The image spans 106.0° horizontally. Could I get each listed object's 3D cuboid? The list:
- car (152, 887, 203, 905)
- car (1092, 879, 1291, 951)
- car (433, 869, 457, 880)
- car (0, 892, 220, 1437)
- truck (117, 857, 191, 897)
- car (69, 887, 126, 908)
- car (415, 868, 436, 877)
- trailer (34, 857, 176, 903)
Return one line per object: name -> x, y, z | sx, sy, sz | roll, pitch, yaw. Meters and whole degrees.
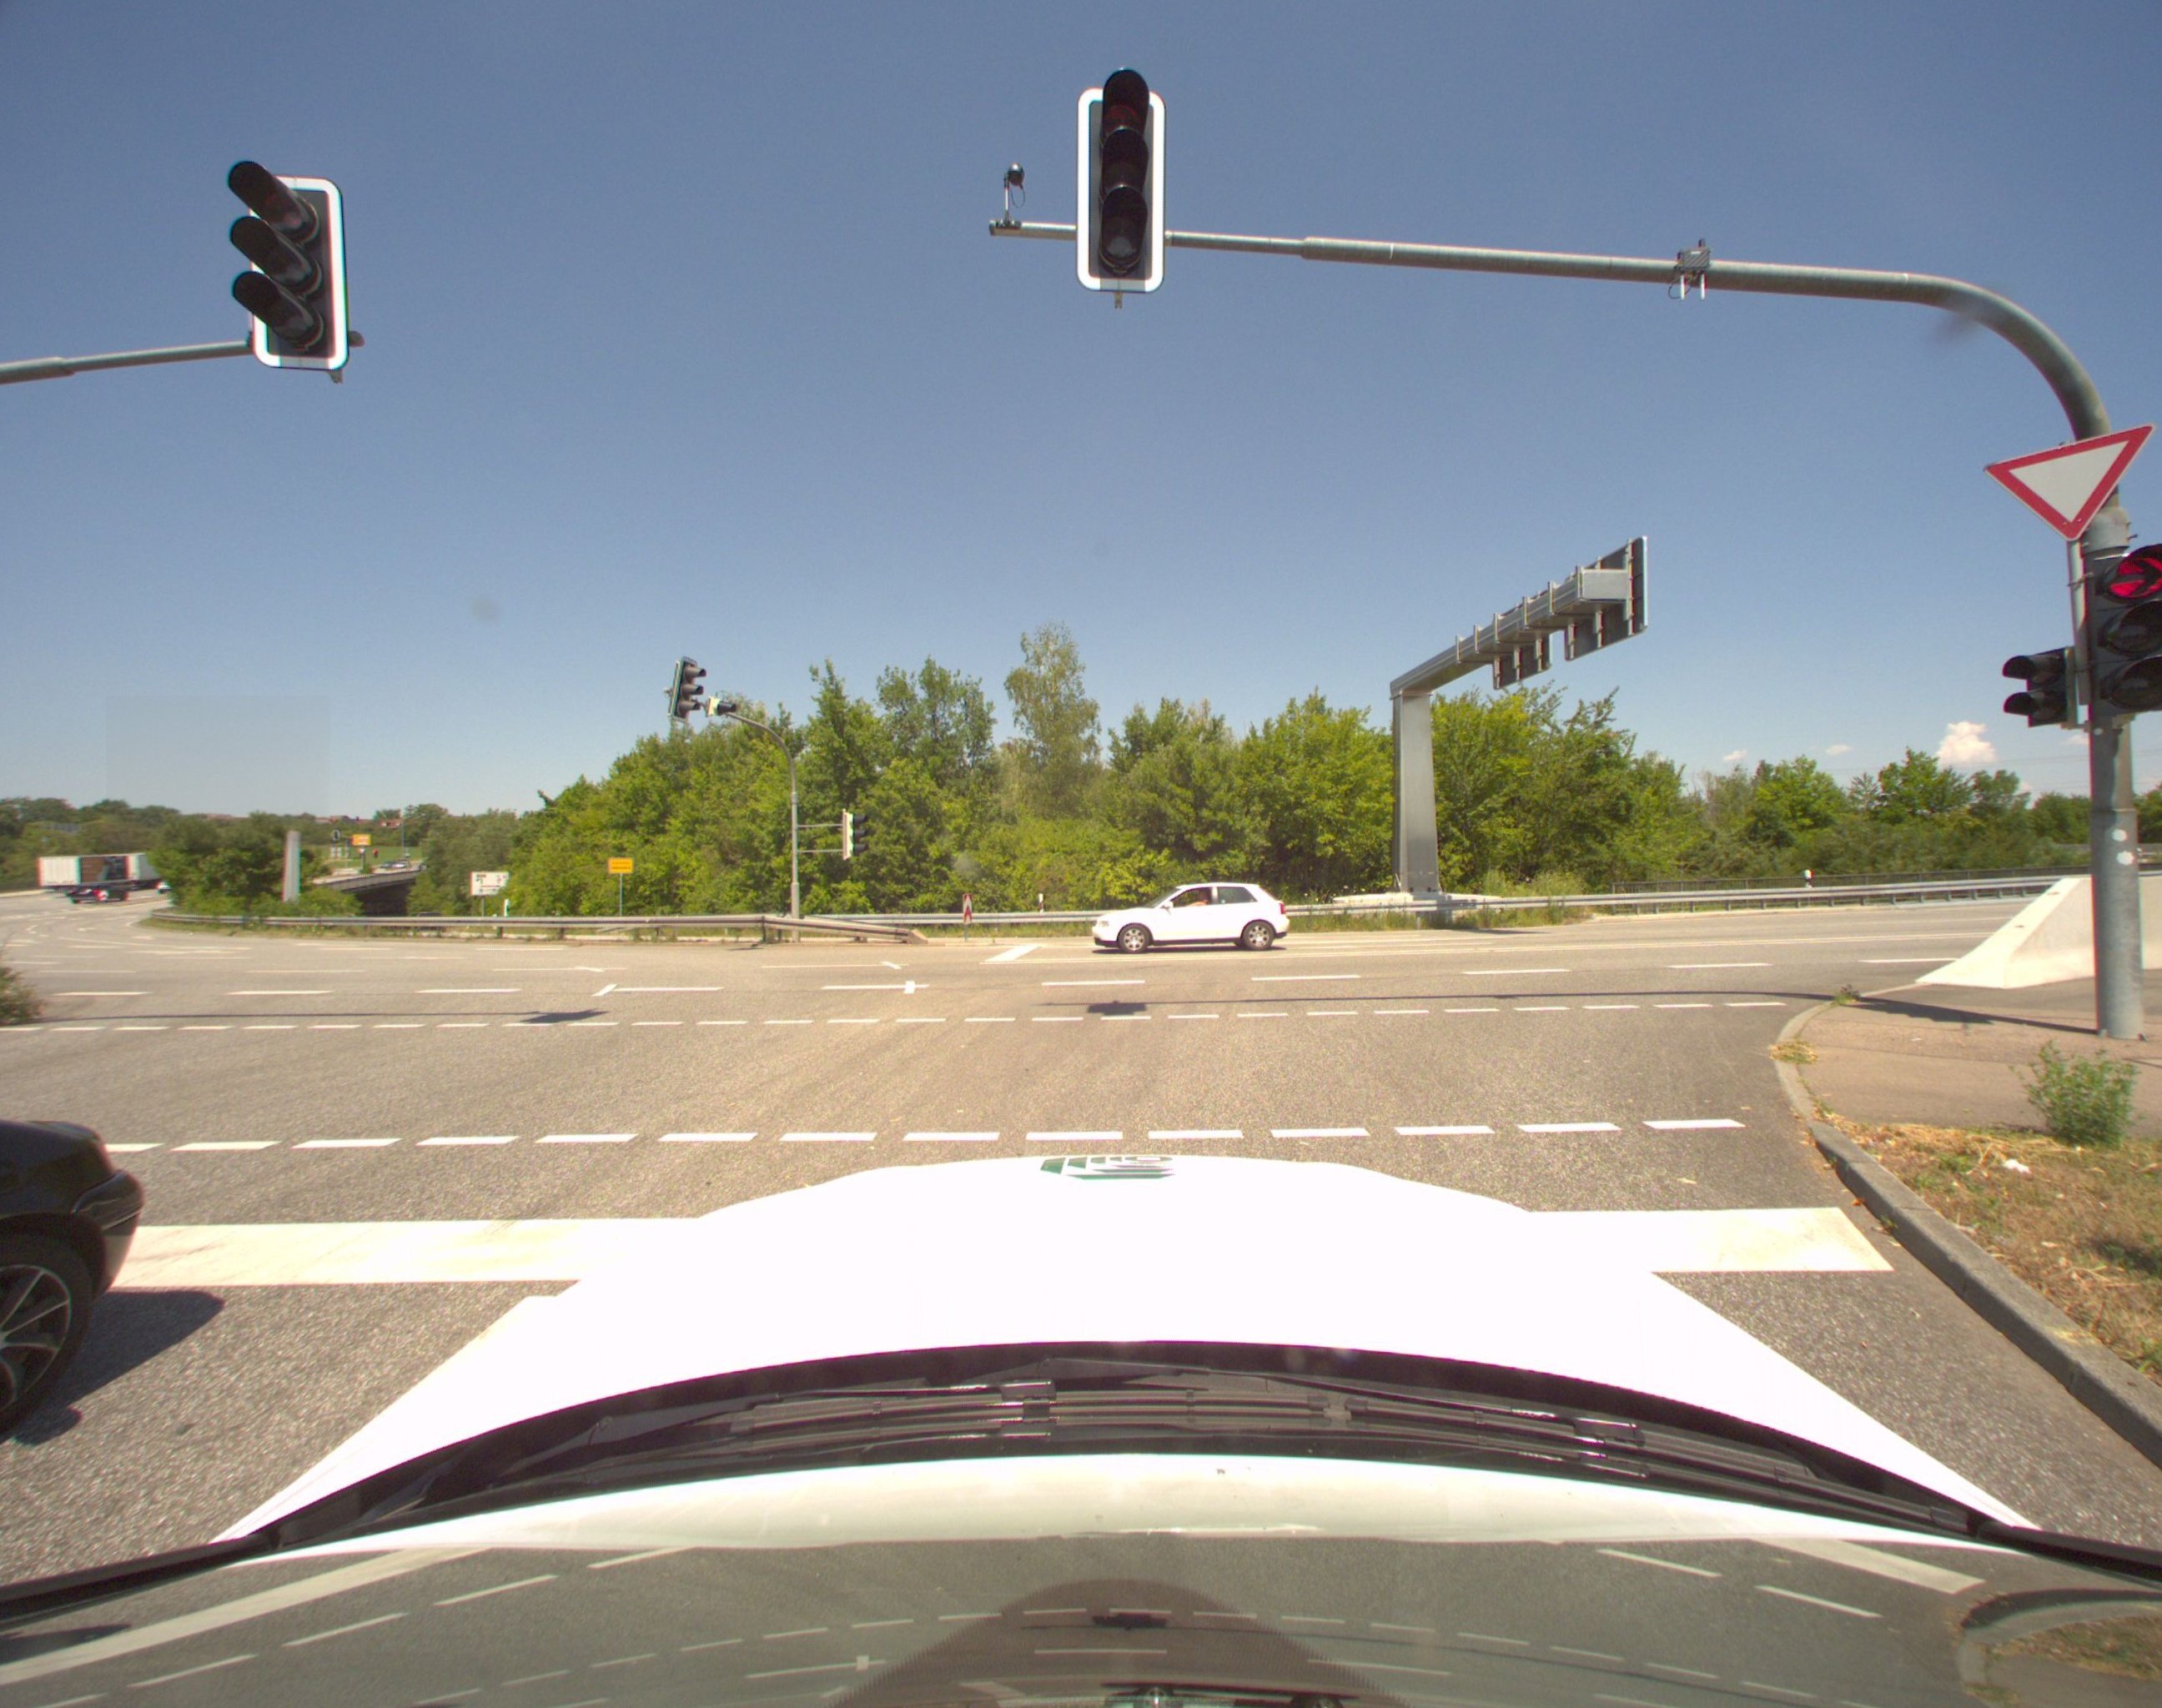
car -> -93.643, 4.310, 84.467 | 1.936, 1.665, 3.970 | 0, 0, -23
car -> 2.229, 1.287, 17.213 | 3.965, 1.396, 1.646 | -1, -4, 0
car -> -120.623, 3.908, 154.440 | 1.995, 2.013, 3.982 | 0, 0, -13
car -> -3.610, 0.827, 1.015 | 1.615, 1.407, 3.297 | -1, -1, -2
truck -> -104.719, 2.515, 92.137 | 3.247, 4.248, 6.186 | 0, 0, -25
car -> -88.051, 3.867, 72.990 | 1.887, 1.622, 3.964 | 0, 0, -28
car -> -129.013, 3.685, 160.255 | 1.773, 1.674, 3.770 | -1, 0, -13
trailer -> -101.509, 2.517, 85.265 | 3.247, 4.248, 15.281 | 0, 0, -25
